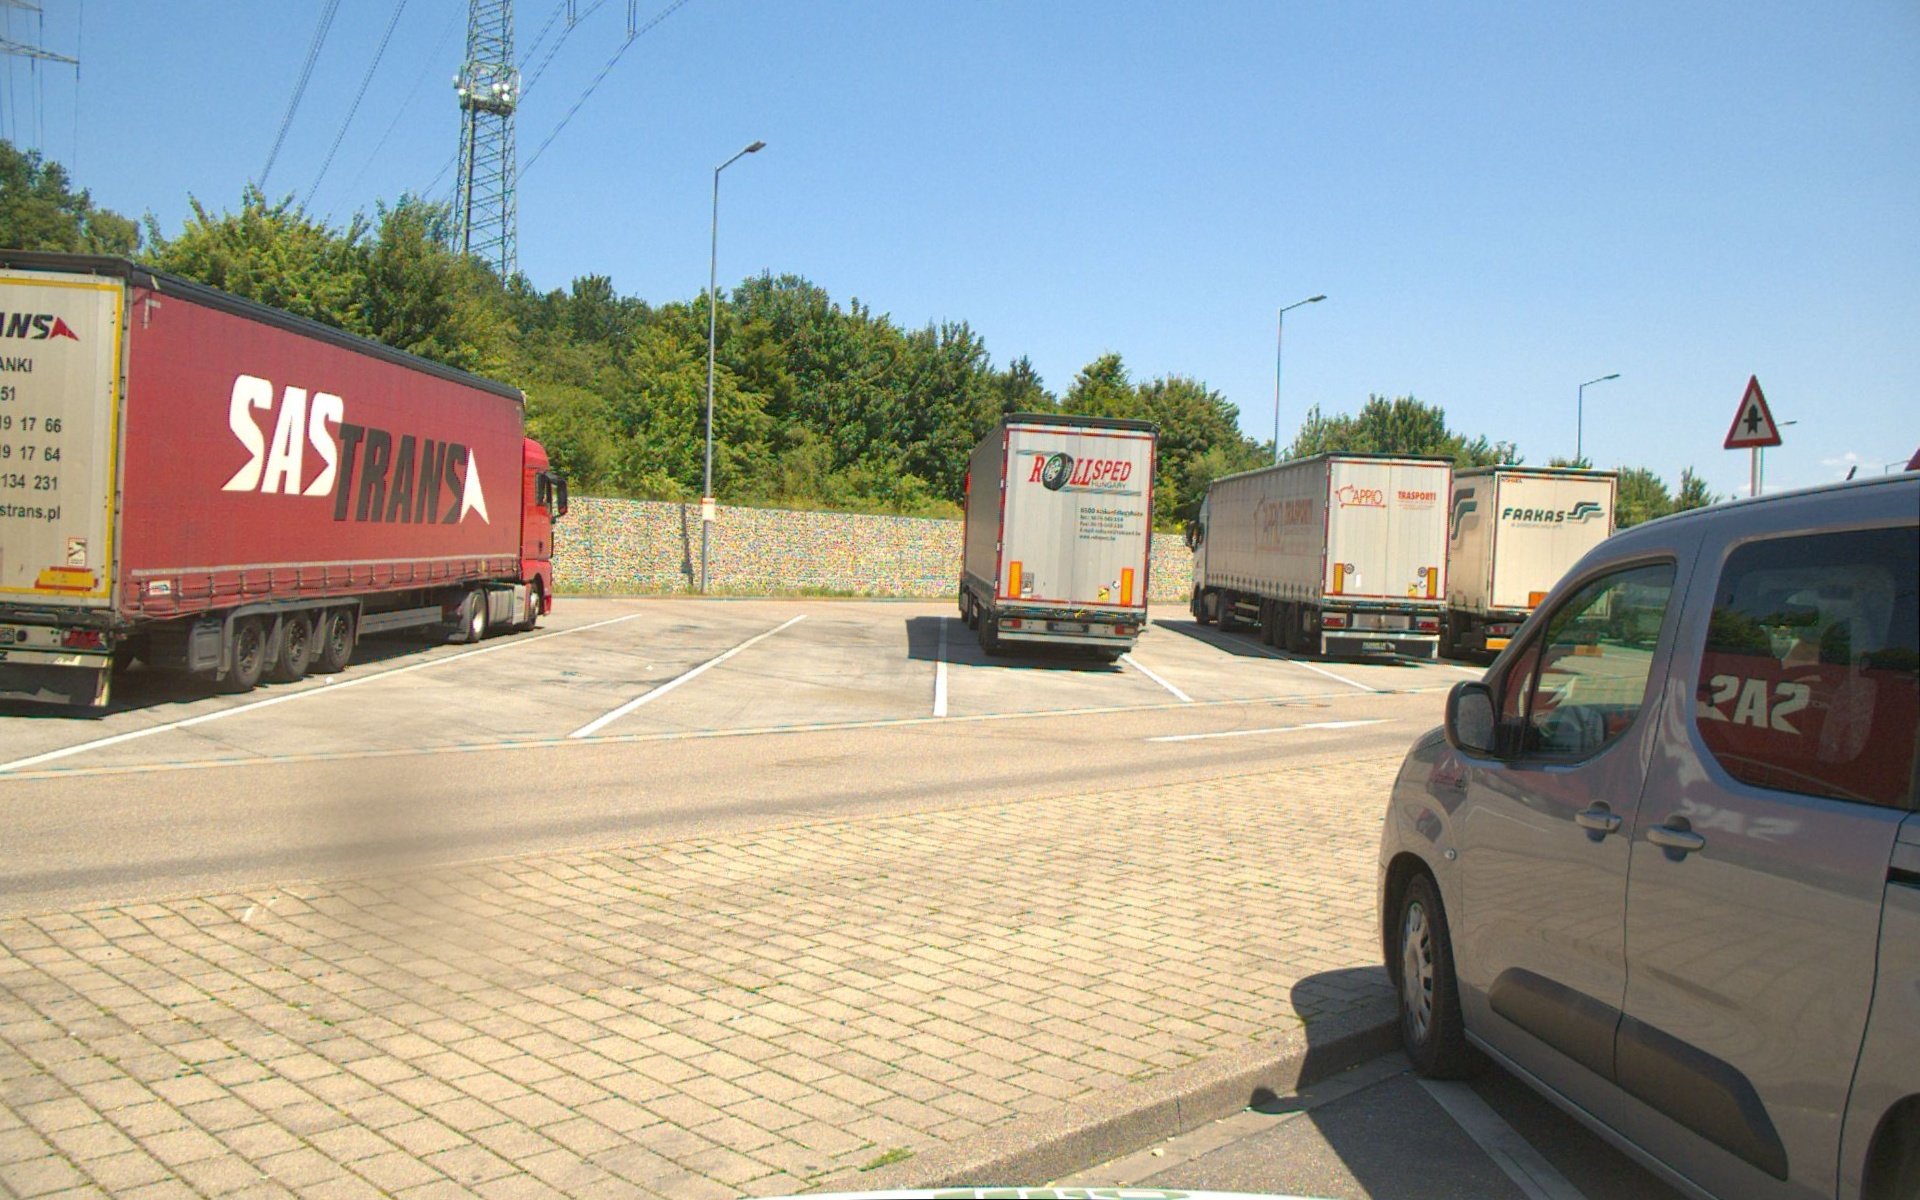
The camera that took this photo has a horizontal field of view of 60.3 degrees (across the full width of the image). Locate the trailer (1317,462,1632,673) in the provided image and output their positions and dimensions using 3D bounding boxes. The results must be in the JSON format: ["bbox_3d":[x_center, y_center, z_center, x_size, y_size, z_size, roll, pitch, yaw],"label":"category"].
[{"bbox_3d":[11.742,-0.932,39.957,2.754,4.058,14.395,3,2,-1],"label":"trailer"}]

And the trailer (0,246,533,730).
[{"bbox_3d":[-8.719,-1.290,21.439,2.735,4.155,14.131,3,2,-1],"label":"trailer"}]

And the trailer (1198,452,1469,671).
[{"bbox_3d":[8.180,-1.027,38.852,2.754,4.058,14.395,3,2,-1],"label":"trailer"}]

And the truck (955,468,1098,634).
[{"bbox_3d":[1.510,-1.237,40.535,3.041,3.628,5.900,3,2,-1],"label":"truck"}]

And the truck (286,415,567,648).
[{"bbox_3d":[-8.783,-1.150,28.010,2.793,3.385,5.900,3,2,-1],"label":"truck"}]

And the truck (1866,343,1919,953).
[{"bbox_3d":[5.006,0.202,4.981,1.937,2.668,5.307,1,0,4],"label":"truck"}]

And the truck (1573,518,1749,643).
[{"bbox_3d":[21.776,-0.691,51.736,2.746,3.582,5.900,3,2,-1],"label":"truck"}]

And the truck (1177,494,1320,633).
[{"bbox_3d":[8.063,-1.090,46.952,2.804,3.582,5.900,3,2,-1],"label":"truck"}]

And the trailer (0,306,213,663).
[{"bbox_3d":[-12.546,-1.336,17.717,2.739,4.155,14.131,3,2,-1],"label":"trailer"}]

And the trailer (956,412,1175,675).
[{"bbox_3d":[1.666,-1.192,33.644,3.070,4.058,14.393,3,2,-1],"label":"trailer"}]

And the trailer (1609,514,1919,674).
[{"bbox_3d":[21.853,-0.386,44.506,2.754,3.568,14.395,3,2,-1],"label":"trailer"}]

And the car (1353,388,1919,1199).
[{"bbox_3d":[2.444,0.605,3.858,1.832,1.896,4.174,3,1,-2],"label":"car"}]
